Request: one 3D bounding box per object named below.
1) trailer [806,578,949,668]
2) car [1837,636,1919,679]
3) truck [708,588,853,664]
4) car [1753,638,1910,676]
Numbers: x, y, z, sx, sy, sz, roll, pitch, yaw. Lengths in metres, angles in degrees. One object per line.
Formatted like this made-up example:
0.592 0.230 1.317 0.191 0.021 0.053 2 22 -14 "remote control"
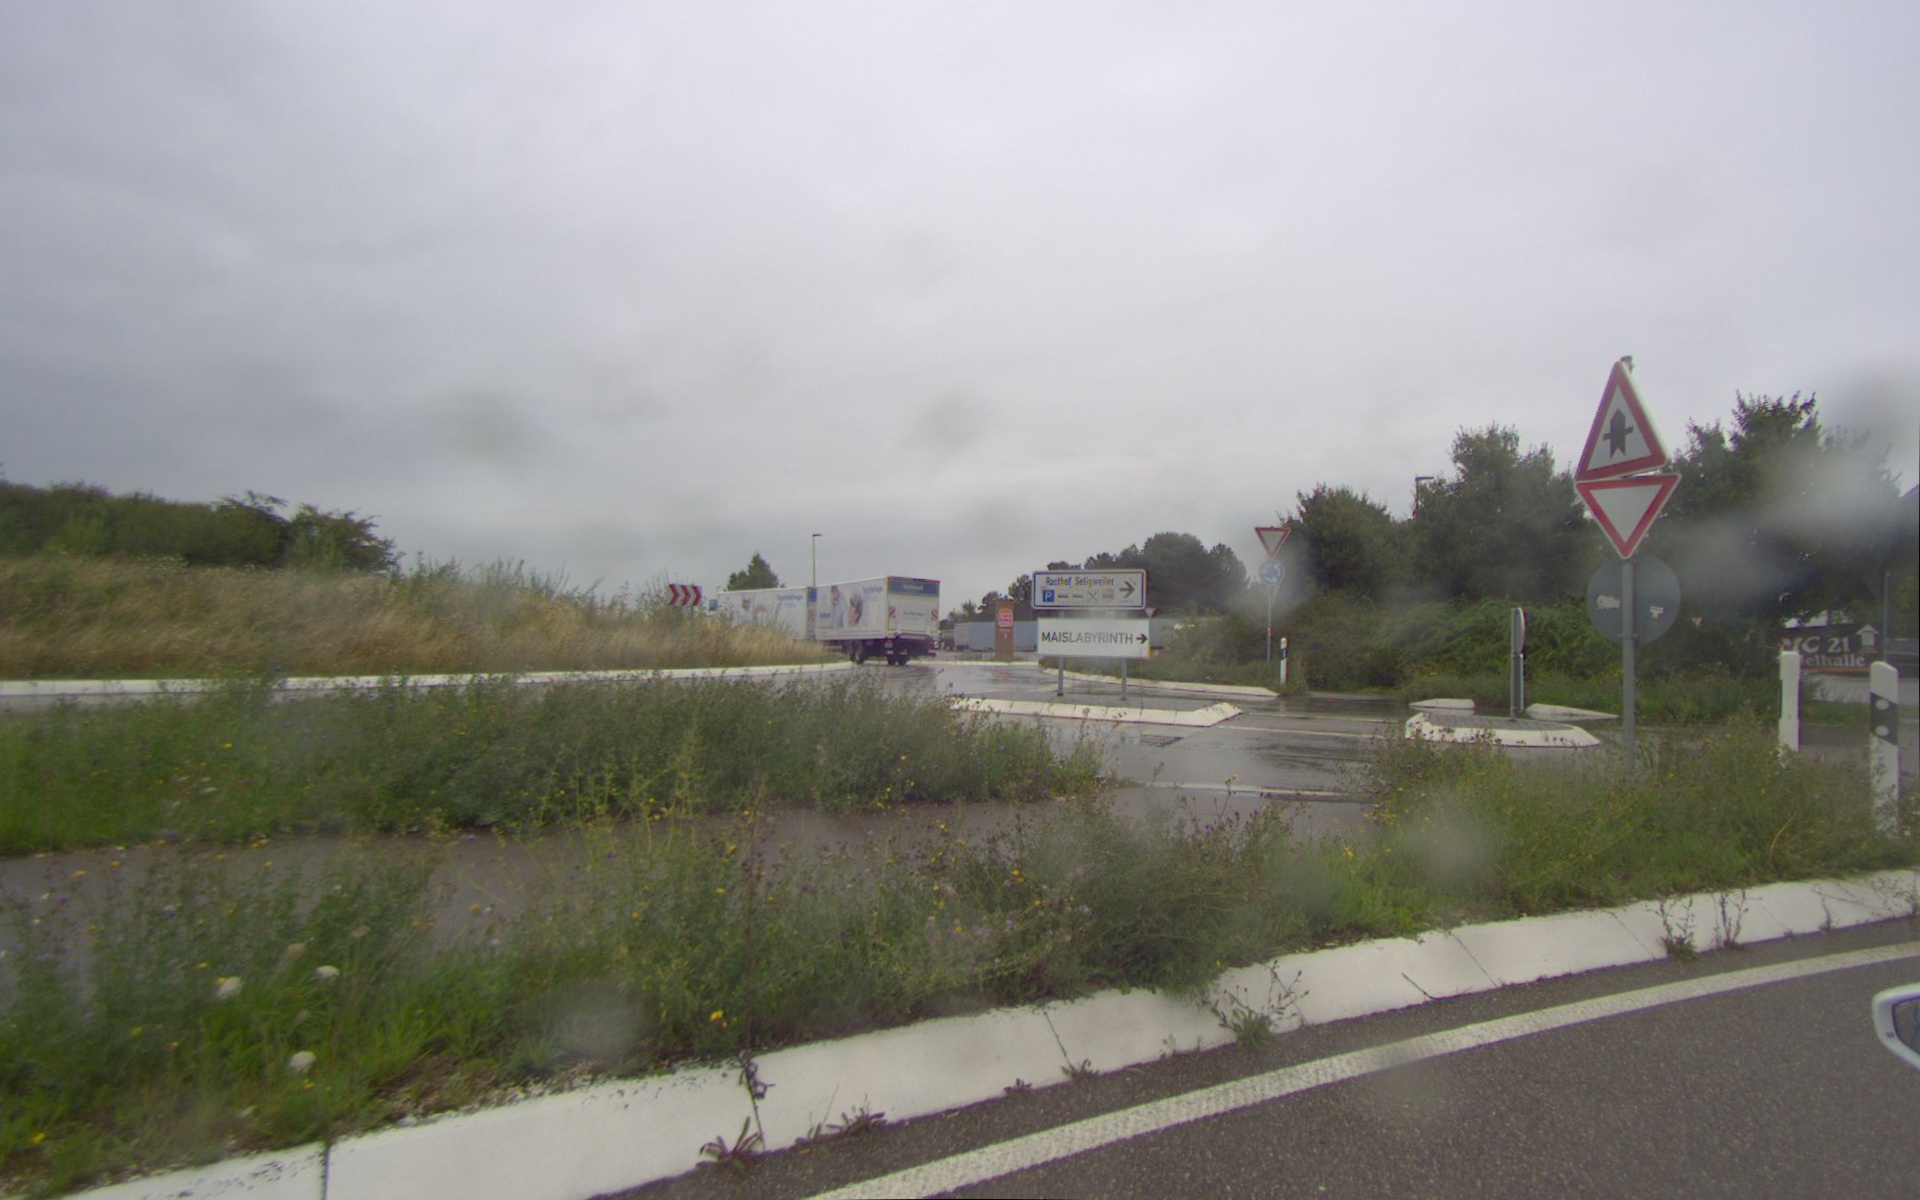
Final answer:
-3.951 1.121 45.283 3.063 3.661 8.792 1 -3 -29 "trailer"
32.983 1.961 34.392 4.291 1.443 1.700 -2 -2 37 "car"
-9.427 1.429 52.160 8.057 3.645 3.101 -2 -3 42 "truck"
34.353 2.238 39.749 4.277 1.443 1.850 -1 -3 24 "car"
